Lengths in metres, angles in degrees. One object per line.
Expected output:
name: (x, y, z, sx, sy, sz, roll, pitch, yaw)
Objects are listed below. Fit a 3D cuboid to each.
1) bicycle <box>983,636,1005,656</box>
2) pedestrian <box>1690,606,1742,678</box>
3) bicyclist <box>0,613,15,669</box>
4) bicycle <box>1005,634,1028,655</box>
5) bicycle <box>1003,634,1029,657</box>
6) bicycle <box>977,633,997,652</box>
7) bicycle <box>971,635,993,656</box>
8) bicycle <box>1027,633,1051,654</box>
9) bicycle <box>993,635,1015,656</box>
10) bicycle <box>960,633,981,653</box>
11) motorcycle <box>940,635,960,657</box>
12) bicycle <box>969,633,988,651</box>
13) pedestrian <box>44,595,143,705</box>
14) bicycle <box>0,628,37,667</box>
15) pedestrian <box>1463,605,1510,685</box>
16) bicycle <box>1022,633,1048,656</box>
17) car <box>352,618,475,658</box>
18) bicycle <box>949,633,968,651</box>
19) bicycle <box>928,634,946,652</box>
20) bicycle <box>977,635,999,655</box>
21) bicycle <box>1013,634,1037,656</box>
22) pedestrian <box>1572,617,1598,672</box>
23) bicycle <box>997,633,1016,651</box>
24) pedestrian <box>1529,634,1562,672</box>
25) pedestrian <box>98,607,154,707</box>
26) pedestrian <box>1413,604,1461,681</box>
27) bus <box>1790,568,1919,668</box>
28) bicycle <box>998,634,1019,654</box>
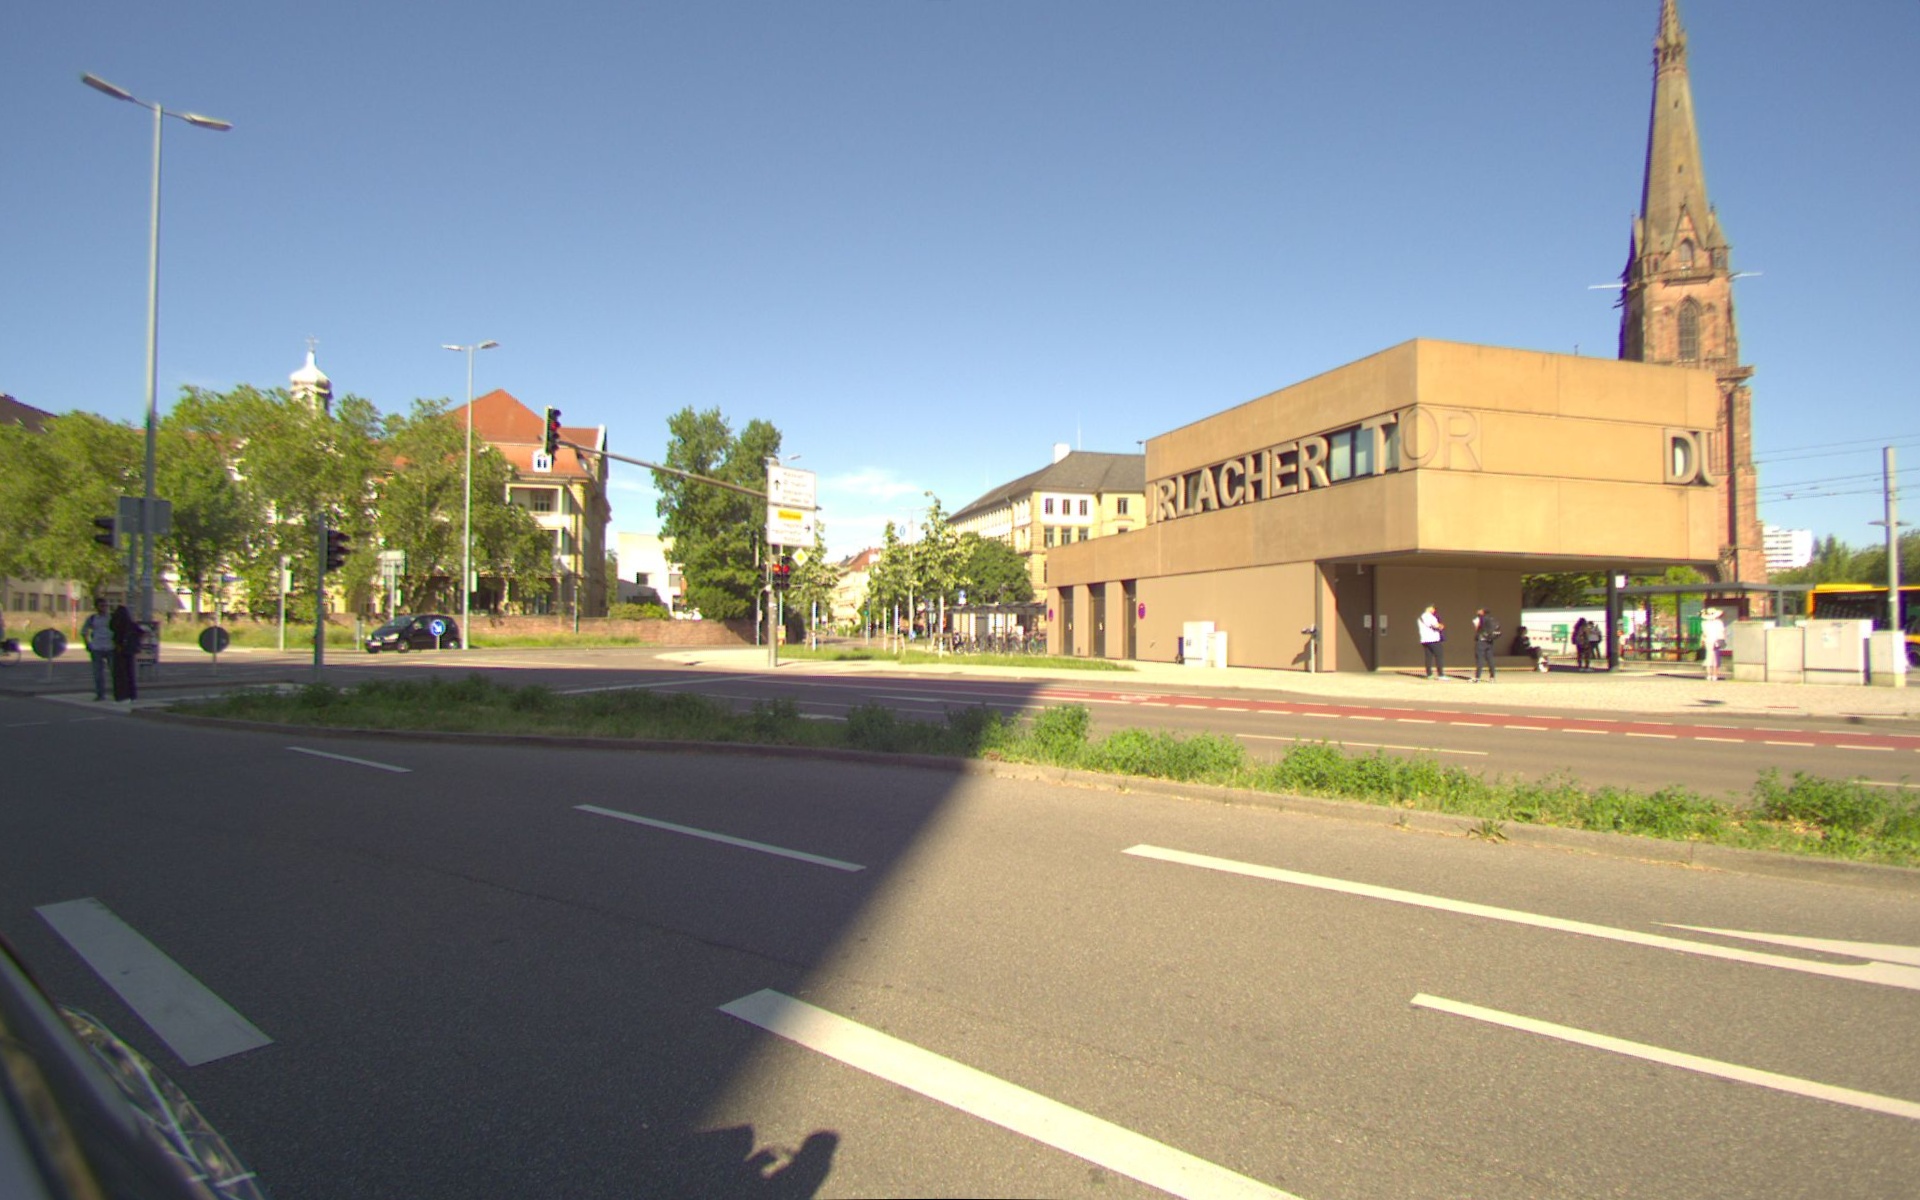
bicycle: (1.791, 2.437, 53.913, 0.558, 1.046, 1.793, 2, -2, -19)
pedestrian: (18.610, 1.022, 24.922, 0.777, 1.736, 0.649, 1, 0, -16)
bicyclist: (-28.834, 1.223, 30.148, 0.638, 1.675, 0.772, -1, -2, 18)
bicycle: (3.032, 2.384, 54.381, 0.558, 1.046, 1.793, 2, -2, -19)
bicycle: (2.664, 2.166, 48.489, 0.558, 1.046, 1.793, 2, -2, -19)
bicycle: (1.611, 2.521, 60.038, 0.558, 1.046, 1.793, 2, -2, -19)
bicycle: (1.171, 2.406, 53.709, 0.558, 1.046, 1.793, 2, -2, -19)
bicycle: (4.274, 2.351, 54.787, 0.558, 1.046, 1.793, 2, -2, -19)
bicycle: (2.350, 2.426, 54.114, 0.558, 1.046, 1.793, 2, -2, -19)
bicycle: (0.546, 2.367, 55.463, 0.558, 1.046, 1.793, 2, -2, -19)
motorcycle: (-0.556, 2.418, 53.753, 0.585, 1.128, 1.990, 0, -2, -15)
bicycle: (1.137, 2.590, 62.119, 0.558, 1.046, 1.793, 2, -2, -19)
pedestrian: (-15.065, 0.843, 17.619, 0.748, 1.846, 1.092, -1, -1, 10)
bicycle: (-28.843, 1.423, 30.109, 0.638, 1.174, 1.956, -2, -3, 18)
pedestrian: (11.801, 0.987, 22.689, 0.633, 1.736, 0.749, 1, 0, -44)
bicycle: (3.605, 2.145, 48.623, 0.558, 1.046, 1.793, 2, -2, -19)
car: (-22.291, 1.544, 41.451, 1.983, 1.484, 4.272, -3, -3, 18)
bicycle: (-0.087, 2.580, 61.683, 0.558, 1.046, 1.793, 2, -2, -19)
bicycle: (-1.395, 2.571, 61.229, 0.558, 1.046, 1.793, 2, -2, -19)
bicycle: (1.547, 2.468, 56.071, 0.558, 1.046, 1.793, 2, -2, -19)
bicycle: (3.246, 2.251, 50.599, 0.558, 1.046, 1.793, 2, -2, -19)
pedestrian: (17.947, 1.267, 29.041, 0.509, 1.521, 0.738, 1, 0, 40)
bicycle: (2.887, 2.614, 62.770, 0.558, 1.046, 1.793, 2, -2, -19)
pedestrian: (15.776, 1.420, 27.280, 0.501, 0.973, 0.576, 1, 0, -11)
pedestrian: (-13.924, 0.930, 16.915, 0.671, 1.624, 0.721, 1, -2, -37)
pedestrian: (11.021, 0.965, 23.378, 0.778, 1.736, 0.596, 1, 0, -4)
bus: (33.168, 0.501, 30.842, 2.923, 3.240, 12.625, 0, -2, -17)
bicycle: (2.708, 2.447, 56.579, 0.558, 1.046, 1.793, 2, -2, -19)
